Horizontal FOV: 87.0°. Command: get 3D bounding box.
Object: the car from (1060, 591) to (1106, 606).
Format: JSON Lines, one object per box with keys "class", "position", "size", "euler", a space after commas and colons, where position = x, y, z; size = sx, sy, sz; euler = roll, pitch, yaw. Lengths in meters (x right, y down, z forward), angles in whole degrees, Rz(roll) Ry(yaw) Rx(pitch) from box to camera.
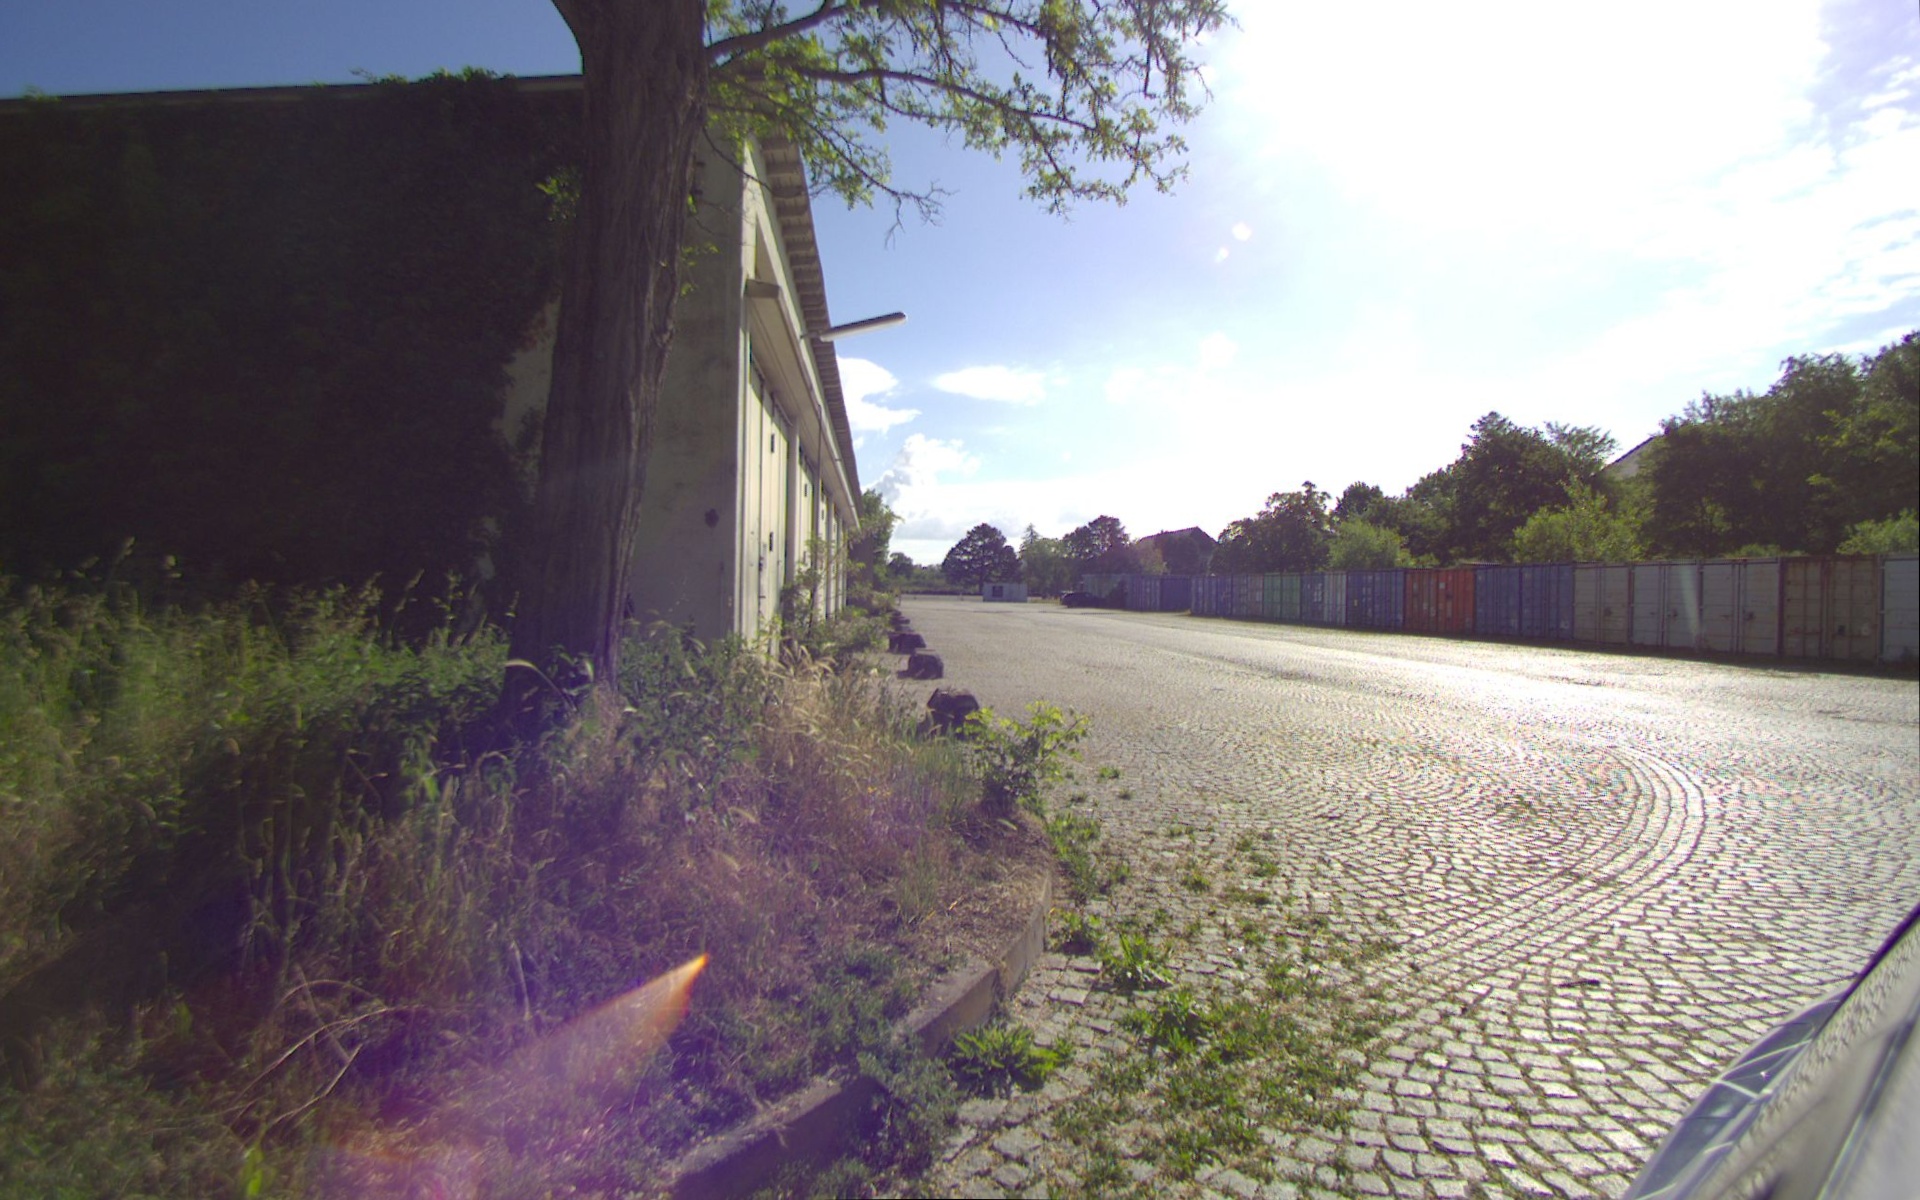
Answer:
{"class": "car", "position": [10.937, -0.151, 90.242], "size": [3.798, 1.282, 1.592], "euler": [1, 0, -6]}
